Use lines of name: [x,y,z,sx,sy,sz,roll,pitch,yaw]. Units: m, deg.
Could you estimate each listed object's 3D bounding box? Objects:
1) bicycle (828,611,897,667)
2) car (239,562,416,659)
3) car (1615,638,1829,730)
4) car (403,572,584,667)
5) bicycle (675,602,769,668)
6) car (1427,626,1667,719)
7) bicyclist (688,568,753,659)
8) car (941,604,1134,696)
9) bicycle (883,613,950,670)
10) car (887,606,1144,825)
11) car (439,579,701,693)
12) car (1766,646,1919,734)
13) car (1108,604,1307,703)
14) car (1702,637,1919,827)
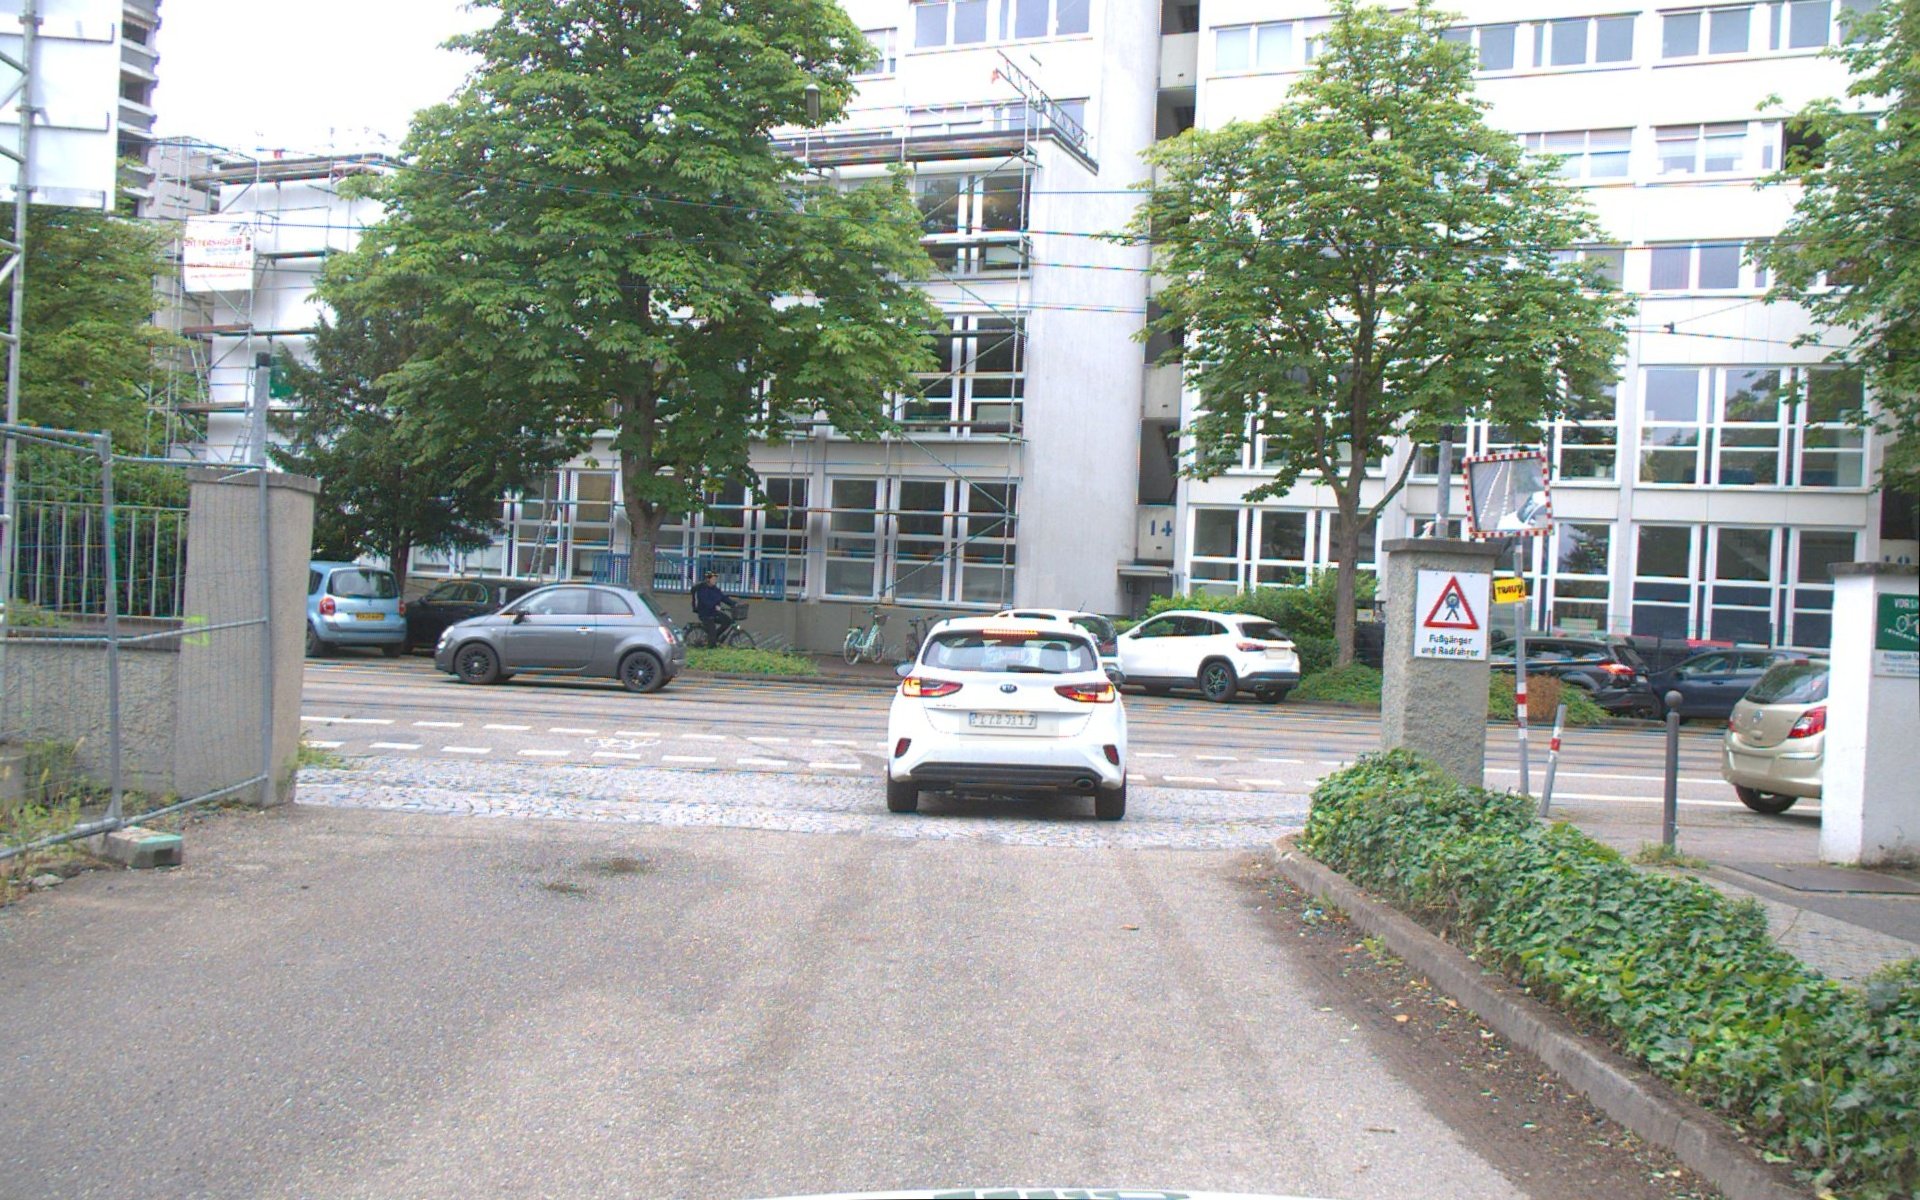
bicycle: [-2.116,0.828,36.266,0.631,1.093,2.313,2,2,19]
car: [-11.147,0.166,29.069,3.279,1.564,1.608,2,0,43]
car: [14.132,1.523,30.761,3.332,1.499,1.407,2,-1,44]
car: [-8.260,0.326,29.180,3.279,1.537,1.608,2,-1,43]
bicycle: [-4.664,0.676,32.357,1.883,1.194,0.816,3,0,45]
car: [10.925,1.307,30.896,3.881,1.499,1.664,2,0,40]
bicyclist: [-4.691,0.257,32.389,0.882,1.727,0.828,2,0,45]
car: [1.367,0.871,29.993,1.544,1.499,3.353,2,0,-44]
bicycle: [-0.930,0.887,35.805,0.631,1.093,2.313,2,2,19]
car: [0.474,0.880,13.427,1.738,1.458,3.979,2,-2,3]
car: [-5.487,0.498,23.559,3.352,1.445,1.520,2,0,-4]
car: [17.238,1.690,31.265,3.332,1.499,1.407,2,-1,44]
car: [4.512,0.950,30.409,1.544,1.646,3.353,2,-1,-44]
car: [8.856,1.199,14.958,3.510,1.527,1.665,3,0,-2]
